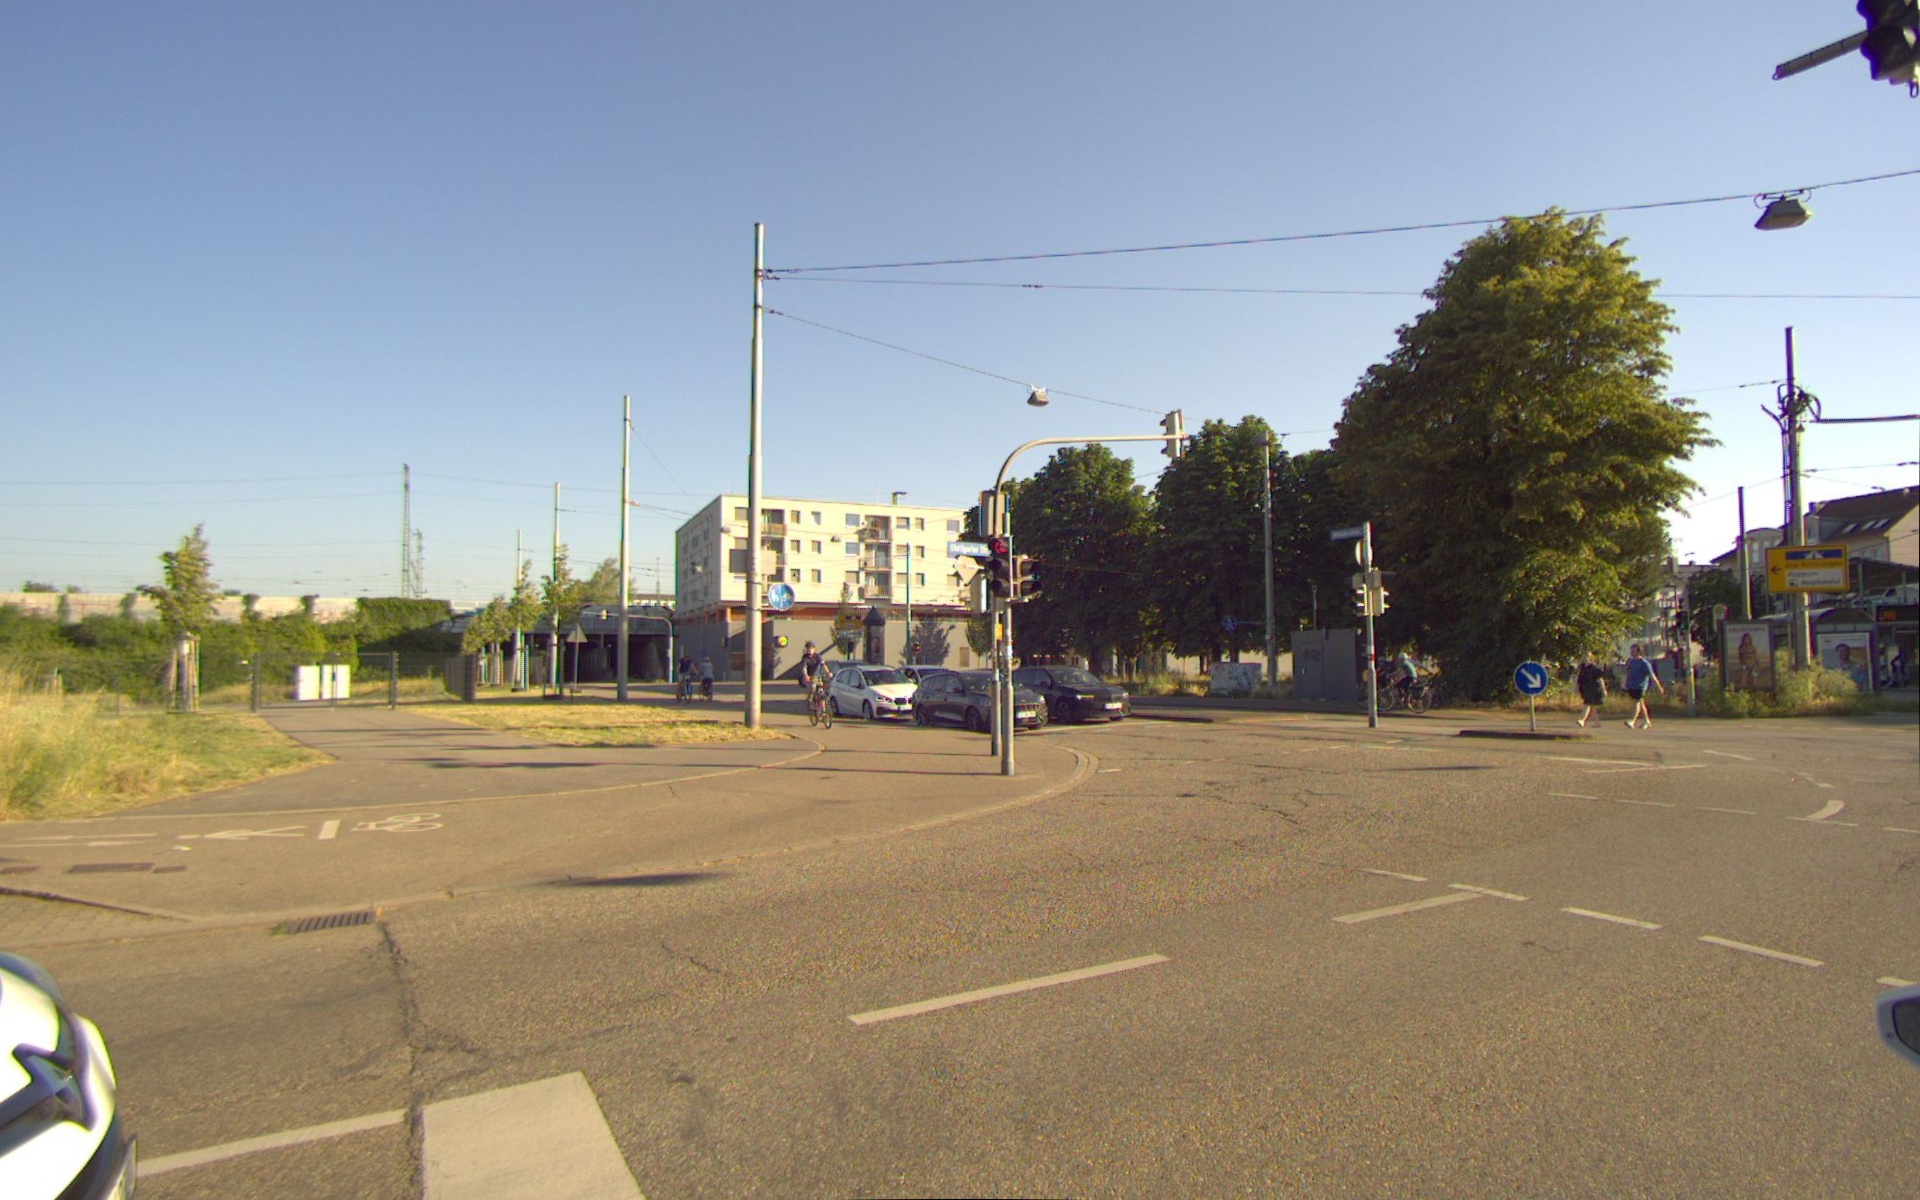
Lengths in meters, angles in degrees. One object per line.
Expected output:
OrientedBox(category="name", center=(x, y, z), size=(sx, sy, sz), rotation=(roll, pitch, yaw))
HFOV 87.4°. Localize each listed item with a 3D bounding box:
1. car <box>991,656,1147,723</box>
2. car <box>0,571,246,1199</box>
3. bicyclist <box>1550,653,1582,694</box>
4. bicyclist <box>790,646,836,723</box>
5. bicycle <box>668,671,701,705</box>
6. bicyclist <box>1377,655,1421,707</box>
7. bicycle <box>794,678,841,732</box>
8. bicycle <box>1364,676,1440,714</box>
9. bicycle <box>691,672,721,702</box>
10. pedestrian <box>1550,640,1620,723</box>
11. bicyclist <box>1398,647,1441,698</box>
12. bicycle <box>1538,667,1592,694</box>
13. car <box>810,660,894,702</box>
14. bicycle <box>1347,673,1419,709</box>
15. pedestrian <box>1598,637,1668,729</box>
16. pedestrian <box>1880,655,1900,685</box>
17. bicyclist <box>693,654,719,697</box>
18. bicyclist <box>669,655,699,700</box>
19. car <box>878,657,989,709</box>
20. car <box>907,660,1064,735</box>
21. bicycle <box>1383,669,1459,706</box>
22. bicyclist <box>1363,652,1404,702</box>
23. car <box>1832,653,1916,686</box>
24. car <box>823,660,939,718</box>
OrientedBox(category="car", center=(2.737, 2.292, 26.391), size=(2.027, 1.587, 4.423), rotation=(1, -4, -26))
OrientedBox(category="car", center=(-3.098, 0.710, 0.992), size=(3.733, 1.488, 1.692), rotation=(2, -4, -32))
OrientedBox(category="bicyclist", center=(25.195, 3.043, 41.800), size=(0.871, 1.673, 0.669), rotation=(0, -3, -10))
OrientedBox(category="bicyclist", center=(-3.254, 1.851, 22.212), size=(0.864, 1.646, 0.969), rotation=(1, -3, -18))
OrientedBox(category="bicycle", center=(-9.837, 3.121, 35.848), size=(0.782, 1.164, 2.279), rotation=(1, -4, -25))
OrientedBox(category="bicyclist", center=(13.363, 2.448, 30.575), size=(0.693, 1.552, 1.024), rotation=(3, -4, -44))
OrientedBox(category="bicycle", center=(-3.178, 2.303, 22.274), size=(0.742, 1.107, 1.943), rotation=(1, -4, -17))
OrientedBox(category="bicycle", center=(13.403, 2.873, 30.511), size=(0.659, 1.083, 1.993), rotation=(3, -5, -43))
OrientedBox(category="bicycle", center=(-9.644, 3.284, 38.137), size=(0.655, 1.083, 2.006), rotation=(1, -4, -27))
OrientedBox(category="pedestrian", center=(13.742, 1.786, 22.086), size=(1.057, 1.769, 0.906), rotation=(2, -4, -35))
OrientedBox(category="bicyclist", center=(15.039, 2.370, 32.883), size=(0.708, 1.650, 1.029), rotation=(2, -4, -41))
OrientedBox(category="bicycle", center=(25.161, 3.337, 41.776), size=(1.983, 1.083, 0.662), rotation=(0, -3, -11))
OrientedBox(category="car", center=(-4.480, 3.263, 40.970), size=(1.975, 1.587, 4.426), rotation=(1, -4, -27))
OrientedBox(category="bicycle", center=(13.551, 2.906, 32.229), size=(0.659, 1.083, 1.993), rotation=(3, -5, -45))
OrientedBox(category="pedestrian", center=(14.892, 1.822, 22.226), size=(1.057, 1.950, 0.906), rotation=(2, -4, -35))
OrientedBox(category="pedestrian", center=(47.885, 3.606, 51.728), size=(0.558, 1.520, 0.677), rotation=(-2, -4, 32))
OrientedBox(category="bicyclist", center=(-9.637, 2.850, 38.077), size=(0.767, 1.626, 0.851), rotation=(1, -4, -27))
OrientedBox(category="bicyclist", center=(-9.844, 2.760, 35.818), size=(0.841, 1.567, 1.016), rotation=(1, -4, -25))
OrientedBox(category="car", center=(-0.972, 2.739, 33.637), size=(1.975, 1.587, 4.426), rotation=(1, -4, -27))
OrientedBox(category="car", center=(0.500, 2.275, 24.246), size=(1.975, 1.587, 4.246), rotation=(0, -3, -27))
OrientedBox(category="bicycle", center=(15.048, 2.846, 32.839), size=(0.695, 1.157, 2.175), rotation=(2, -4, -41))
OrientedBox(category="bicyclist", center=(13.595, 2.458, 32.236), size=(1.024, 1.552, 0.657), rotation=(-4, -4, 45))
OrientedBox(category="car", center=(59.323, 4.509, 65.317), size=(2.017, 1.987, 5.153), rotation=(-4, -4, 19))
OrientedBox(category="car", center=(-2.448, 2.613, 30.042), size=(1.975, 1.587, 4.246), rotation=(1, -4, -27))
